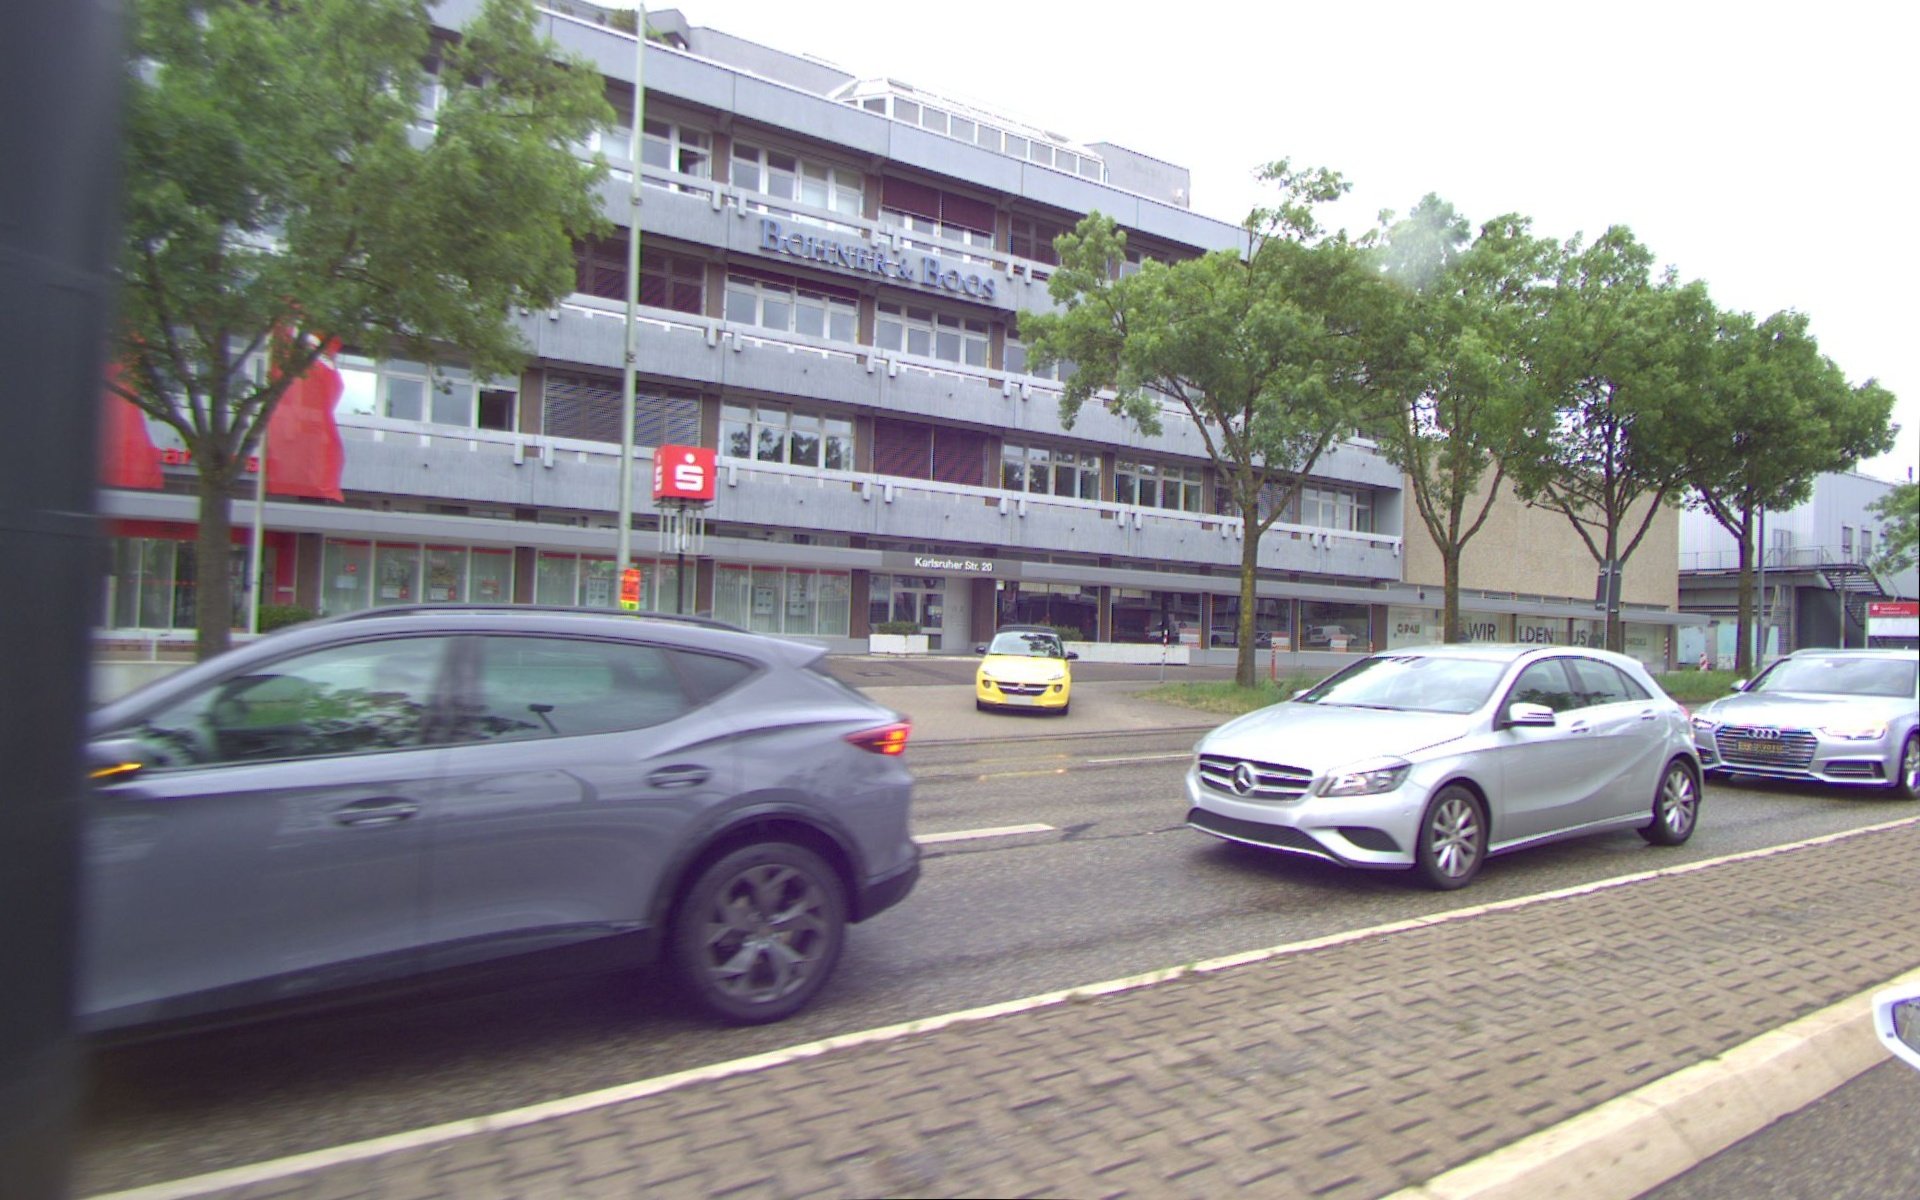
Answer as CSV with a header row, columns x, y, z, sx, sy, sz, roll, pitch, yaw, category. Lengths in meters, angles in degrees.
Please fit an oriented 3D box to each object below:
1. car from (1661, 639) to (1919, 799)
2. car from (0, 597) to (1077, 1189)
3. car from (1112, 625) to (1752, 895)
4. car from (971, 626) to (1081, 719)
x,y,z,sx,sy,sz,roll,pitch,yaw,category
9.779,1.192,10.911,4.733,1.416,1.715,2,-4,-30,car
-1.999,0.797,3.832,4.771,1.509,1.737,2,-2,-30,car
3.556,0.967,7.277,4.808,1.394,1.832,2,-5,-31,car
1.303,1.311,19.101,1.861,1.572,4.003,0,-2,5,car
